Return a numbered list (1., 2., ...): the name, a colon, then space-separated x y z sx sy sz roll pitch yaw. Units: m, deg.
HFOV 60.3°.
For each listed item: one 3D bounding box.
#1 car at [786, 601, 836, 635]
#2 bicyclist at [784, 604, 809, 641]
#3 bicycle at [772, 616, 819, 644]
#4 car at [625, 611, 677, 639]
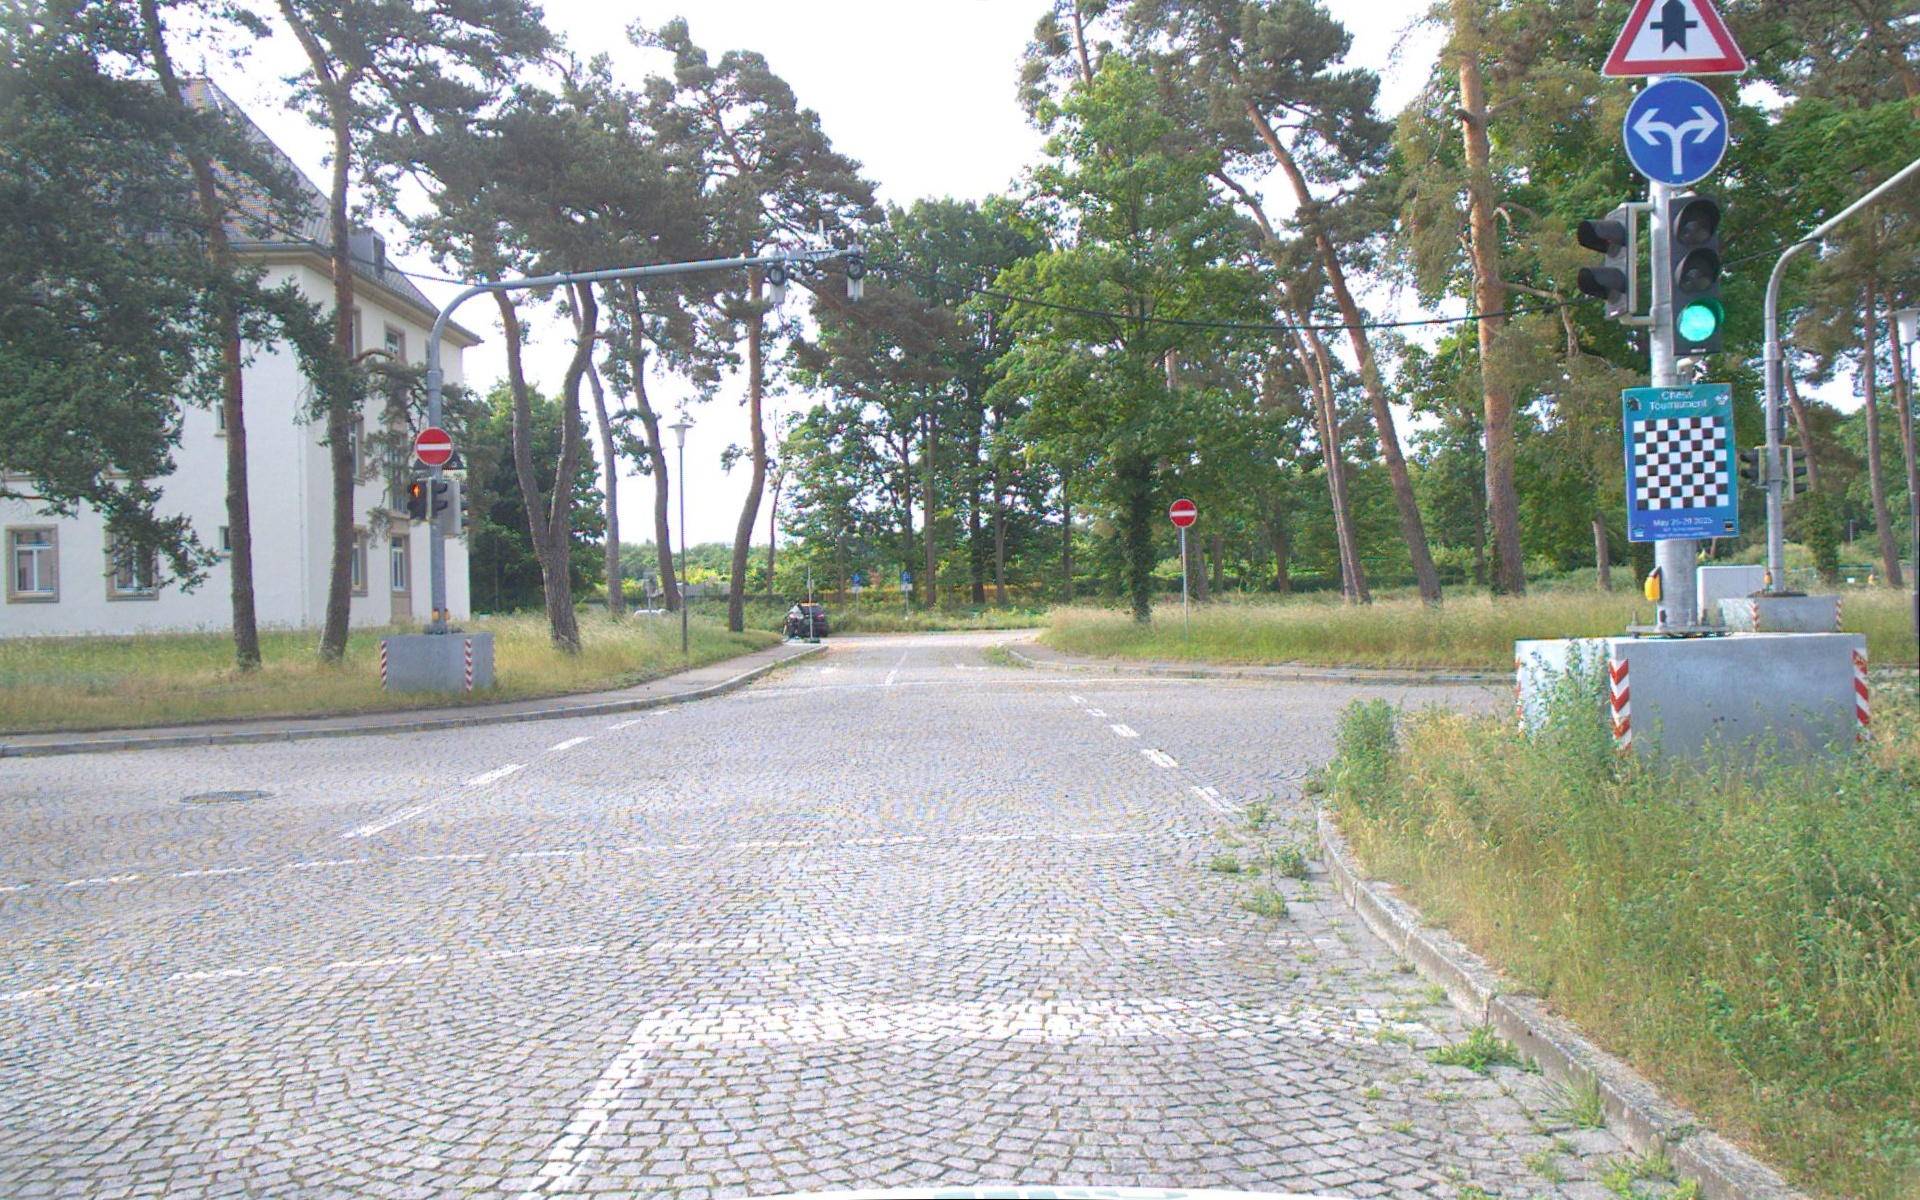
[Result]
1. car: -6.886 0.818 76.995 1.953 1.534 4.000 0 0 0
2. bicyclist: -6.904 0.943 69.917 0.955 1.537 0.807 -2 0 -4
3. bicycle: -6.953 1.277 69.899 1.948 1.114 0.809 -2 0 -5
4. car: -14.528 1.166 78.021 1.654 1.176 4.000 -2 0 0
